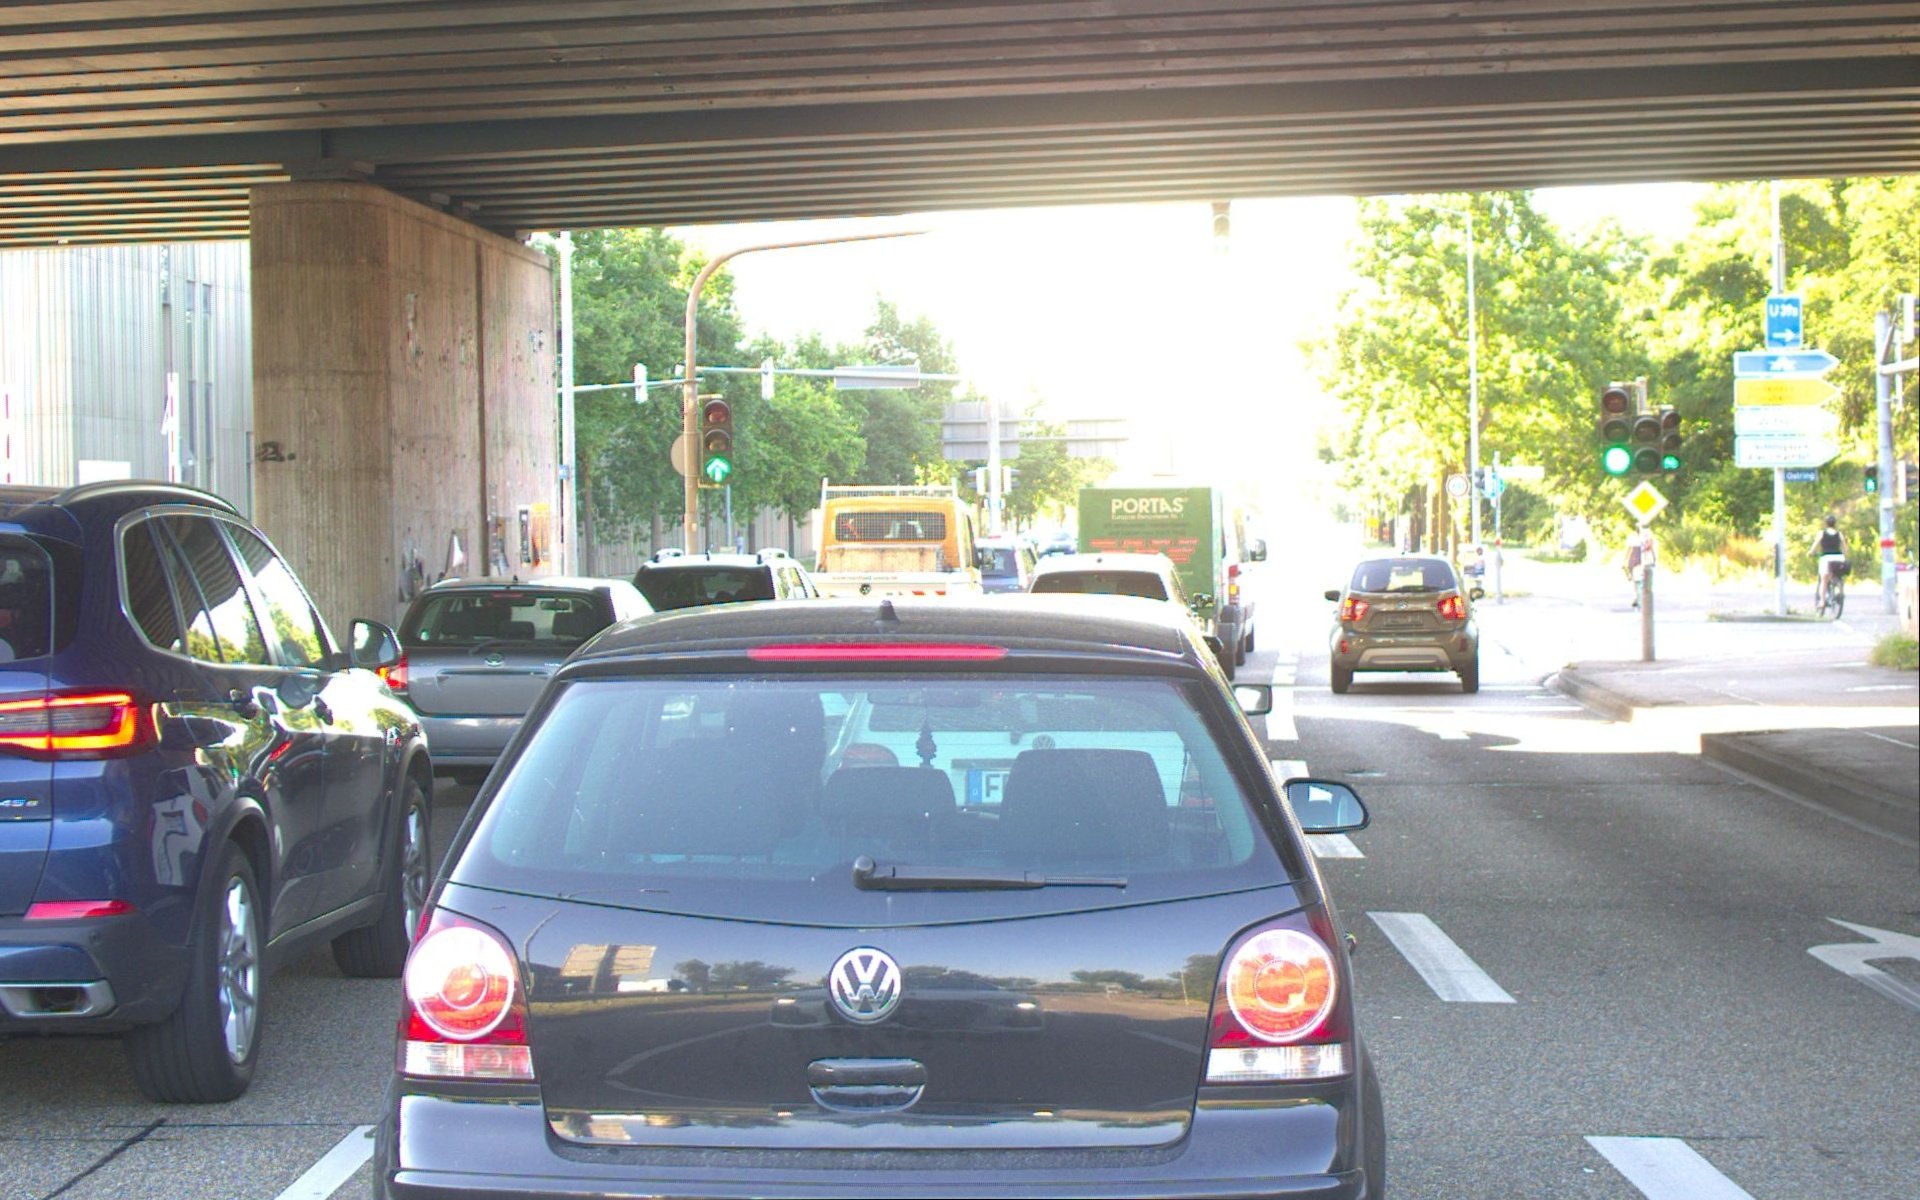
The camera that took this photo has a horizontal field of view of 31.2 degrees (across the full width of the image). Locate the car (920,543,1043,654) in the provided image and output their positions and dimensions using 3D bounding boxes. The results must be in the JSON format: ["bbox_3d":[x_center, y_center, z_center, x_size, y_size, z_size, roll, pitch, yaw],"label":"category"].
[{"bbox_3d":[0.374,-0.038,54.479,1.617,1.673,3.682,1,0,5],"label":"car"}]

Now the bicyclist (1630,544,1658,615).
[{"bbox_3d":[11.995,-0.359,60.321,0.427,1.229,0.460,-1,0,6],"label":"bicyclist"}]

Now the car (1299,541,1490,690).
[{"bbox_3d":[5.002,0.160,40.024,1.737,1.625,4.062,1,0,1],"label":"car"}]

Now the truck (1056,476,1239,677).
[{"bbox_3d":[2.338,-0.287,42.044,1.996,2.307,3.999,1,0,6],"label":"truck"}]

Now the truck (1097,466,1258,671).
[{"bbox_3d":[3.030,-0.427,47.120,1.996,2.659,3.999,1,0,6],"label":"truck"}]

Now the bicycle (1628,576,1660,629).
[{"bbox_3d":[12.002,0.045,60.358,0.437,0.911,1.026,-2,0,6],"label":"bicycle"}]

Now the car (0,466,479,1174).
[{"bbox_3d":[-2.902,0.511,10.715,1.993,1.728,4.532,1,0,2],"label":"car"}]

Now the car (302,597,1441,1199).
[{"bbox_3d":[-0.180,0.720,6.757,1.616,1.405,3.683,1,0,-2],"label":"car"}]

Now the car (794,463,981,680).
[{"bbox_3d":[-0.855,-0.363,43.668,2.137,2.567,5.087,1,0,1],"label":"car"}]

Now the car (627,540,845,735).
[{"bbox_3d":[-2.014,0.315,31.790,1.616,1.673,3.683,1,0,2],"label":"car"}]

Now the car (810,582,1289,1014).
[{"bbox_3d":[0.324,0.650,13.496,1.578,1.408,4.062,1,0,1],"label":"car"}]

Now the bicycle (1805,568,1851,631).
[{"bbox_3d":[15.591,-0.010,61.780,0.565,1.108,1.621,1,0,6],"label":"bicycle"}]

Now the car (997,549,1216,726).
[{"bbox_3d":[1.446,0.320,32.591,1.796,1.553,3.999,1,0,6],"label":"car"}]

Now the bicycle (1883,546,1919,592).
[{"bbox_3d":[21.597,-0.712,77.062,1.664,0.988,0.577,-1,3,23],"label":"bicycle"}]

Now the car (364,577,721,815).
[{"bbox_3d":[-2.633,0.561,22.430,1.617,1.405,3.682,1,0,4],"label":"car"}]

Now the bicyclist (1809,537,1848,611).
[{"bbox_3d":[15.620,-0.472,61.857,0.544,1.311,0.835,1,0,6],"label":"bicyclist"}]
